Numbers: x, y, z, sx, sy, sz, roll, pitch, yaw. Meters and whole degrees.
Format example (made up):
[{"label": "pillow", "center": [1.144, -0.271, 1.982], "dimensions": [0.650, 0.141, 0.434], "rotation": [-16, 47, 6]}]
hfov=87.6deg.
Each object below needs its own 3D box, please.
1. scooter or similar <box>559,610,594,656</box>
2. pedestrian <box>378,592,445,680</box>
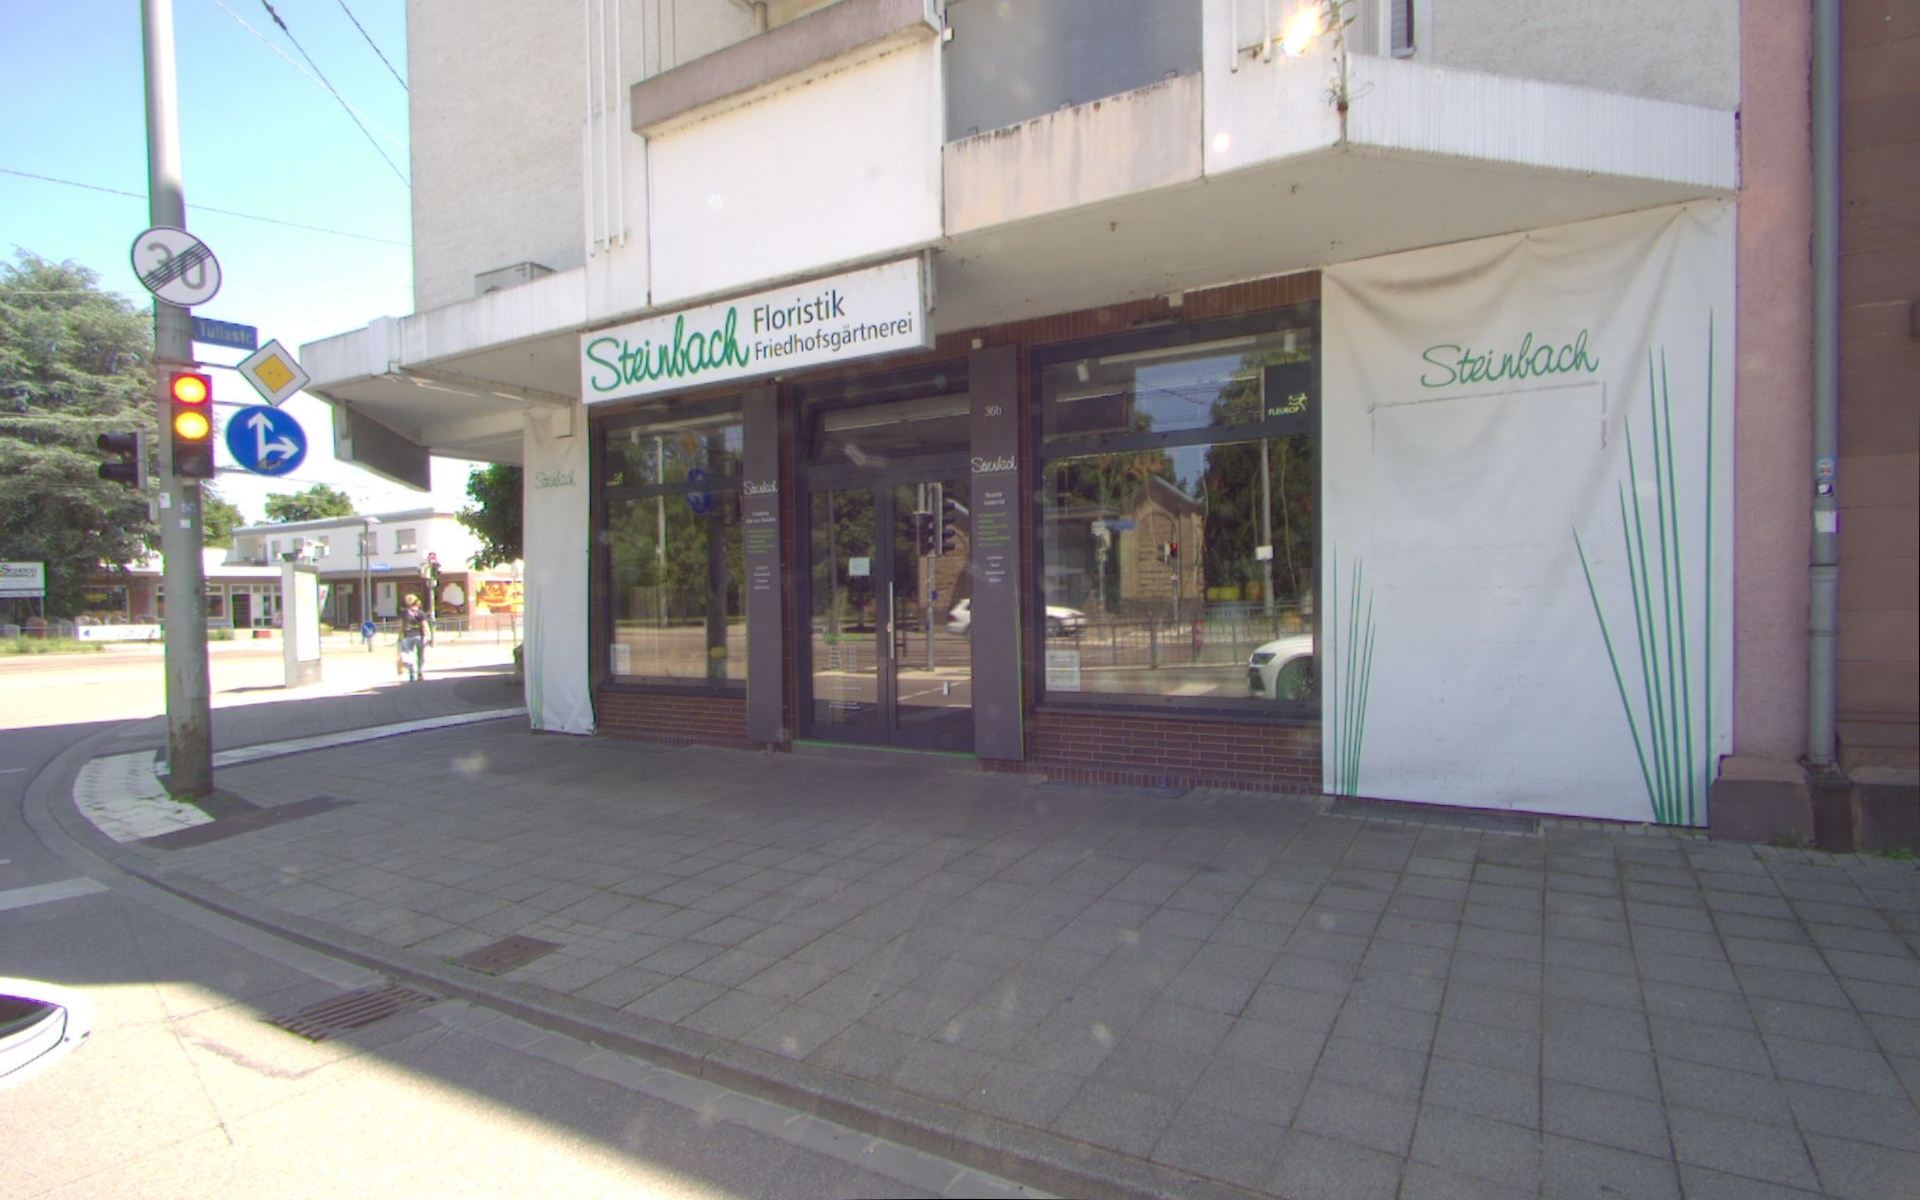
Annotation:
[{"label": "scooter or similar", "center": [-10.476, 0.893, 27.387], "dimensions": [0.387, 1.229, 1.255], "rotation": [-1, 0, 5]}, {"label": "pedestrian", "center": [-10.411, 0.658, 19.020], "dimensions": [0.816, 1.605, 0.823], "rotation": [0, 2, 38]}]
